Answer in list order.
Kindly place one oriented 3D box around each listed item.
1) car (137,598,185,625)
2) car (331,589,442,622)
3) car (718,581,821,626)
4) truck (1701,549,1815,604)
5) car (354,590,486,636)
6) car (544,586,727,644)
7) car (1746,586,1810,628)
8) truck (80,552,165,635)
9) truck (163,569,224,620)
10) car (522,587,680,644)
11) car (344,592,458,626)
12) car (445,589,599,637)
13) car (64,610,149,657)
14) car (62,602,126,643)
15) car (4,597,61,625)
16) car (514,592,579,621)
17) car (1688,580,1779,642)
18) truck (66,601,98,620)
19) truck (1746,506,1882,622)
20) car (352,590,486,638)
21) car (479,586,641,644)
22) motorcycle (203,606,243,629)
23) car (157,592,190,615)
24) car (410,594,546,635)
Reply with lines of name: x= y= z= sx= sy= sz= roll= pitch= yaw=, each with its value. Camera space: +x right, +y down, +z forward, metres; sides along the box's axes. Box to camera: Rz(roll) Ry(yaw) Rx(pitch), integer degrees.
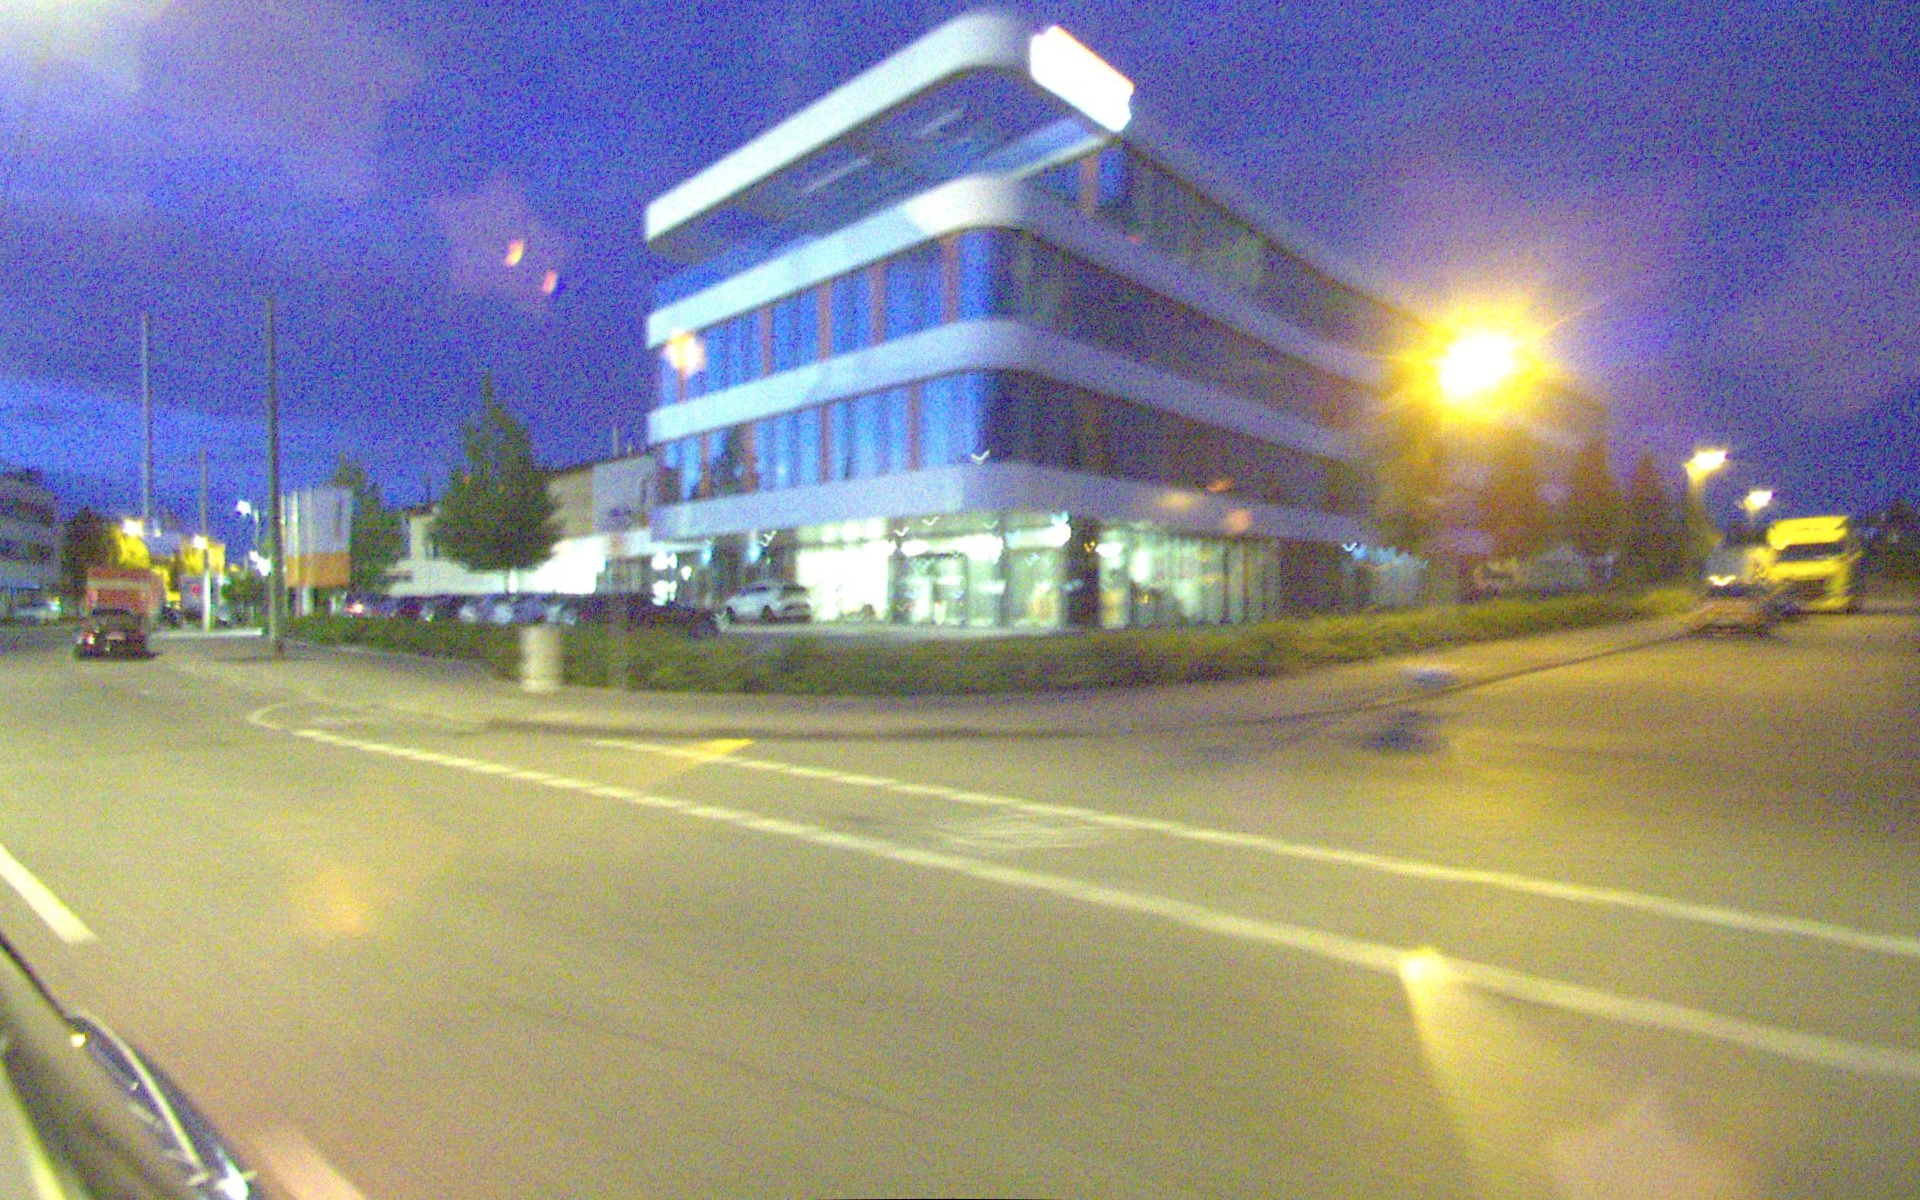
car: x=-53.817 y=0.747 z=68.225 sx=1.917 sy=1.730 sz=5.213 roll=0 pitch=0 yaw=-31
car: x=-27.548 y=0.237 z=48.681 sx=4.353 sy=1.493 sz=1.894 roll=-1 pitch=0 yaw=-44
car: x=-7.393 y=0.124 z=39.062 sx=1.970 sy=1.654 sz=4.207 roll=-2 pitch=1 yaw=-43
truck: x=57.185 y=-1.642 z=72.884 sx=3.340 sy=3.645 sz=9.636 roll=-1 pitch=0 yaw=18
car: x=-22.648 y=0.508 z=42.576 sx=4.553 sy=1.829 sz=1.964 roll=-1 pitch=0 yaw=-44
car: x=-8.968 y=0.363 z=28.120 sx=4.394 sy=1.463 sz=2.064 roll=-1 pitch=0 yaw=-41
car: x=29.087 y=0.221 z=35.959 sx=1.693 sy=1.377 sz=3.947 roll=0 pitch=0 yaw=40
truck: x=-45.858 y=-0.328 z=55.666 sx=2.735 sy=4.151 sz=9.365 roll=0 pitch=0 yaw=-34
truck: x=-63.735 y=-0.448 z=84.382 sx=2.708 sy=4.064 sz=9.590 roll=0 pitch=0 yaw=-29
car: x=-10.667 y=0.419 z=30.234 sx=4.084 sy=1.591 sz=1.843 roll=-1 pitch=0 yaw=-44
car: x=-25.951 y=0.383 z=47.083 sx=4.353 sy=1.463 sz=1.829 roll=-1 pitch=0 yaw=-44
car: x=-14.473 y=0.372 z=33.595 sx=4.353 sy=1.490 sz=1.852 roll=-1 pitch=0 yaw=-44
car: x=-27.908 y=1.044 z=33.035 sx=1.793 sy=1.382 sz=4.363 roll=0 pitch=0 yaw=-45
car: x=-36.084 y=0.903 z=42.263 sx=1.842 sy=1.605 sz=4.503 roll=0 pitch=0 yaw=-38
car: x=-71.326 y=0.832 z=77.897 sx=1.965 sy=2.029 sz=4.928 roll=0 pitch=0 yaw=-27
car: x=-22.682 y=0.343 z=55.460 sx=1.879 sy=1.468 sz=4.470 roll=-2 pitch=1 yaw=-42
car: x=21.985 y=0.257 z=28.701 sx=1.889 sy=1.563 sz=3.947 roll=0 pitch=2 yaw=40
truck: x=-78.446 y=0.897 z=90.487 sx=1.351 sy=1.657 sz=3.824 roll=0 pitch=0 yaw=-28
truck: x=38.621 y=-1.443 z=45.520 sx=12.407 sy=4.585 sz=3.581 roll=0 pitch=0 yaw=-45
car: x=-21.583 y=0.527 z=40.484 sx=4.353 sy=1.829 sz=1.964 roll=0 pitch=0 yaw=-44
car: x=-12.524 y=0.423 z=31.866 sx=1.963 sy=1.693 sz=4.354 roll=0 pitch=0 yaw=44
motorcycle: x=-39.950 y=0.952 z=54.870 sx=0.528 sy=1.109 sz=1.679 roll=0 pitch=3 yaw=24
car: x=-92.547 y=0.444 z=119.155 sx=2.099 sy=2.590 sz=5.927 roll=-3 pitch=1 yaw=-30
car: x=-17.804 y=0.492 z=37.488 sx=4.217 sy=1.404 sz=1.829 roll=-1 pitch=0 yaw=-44
